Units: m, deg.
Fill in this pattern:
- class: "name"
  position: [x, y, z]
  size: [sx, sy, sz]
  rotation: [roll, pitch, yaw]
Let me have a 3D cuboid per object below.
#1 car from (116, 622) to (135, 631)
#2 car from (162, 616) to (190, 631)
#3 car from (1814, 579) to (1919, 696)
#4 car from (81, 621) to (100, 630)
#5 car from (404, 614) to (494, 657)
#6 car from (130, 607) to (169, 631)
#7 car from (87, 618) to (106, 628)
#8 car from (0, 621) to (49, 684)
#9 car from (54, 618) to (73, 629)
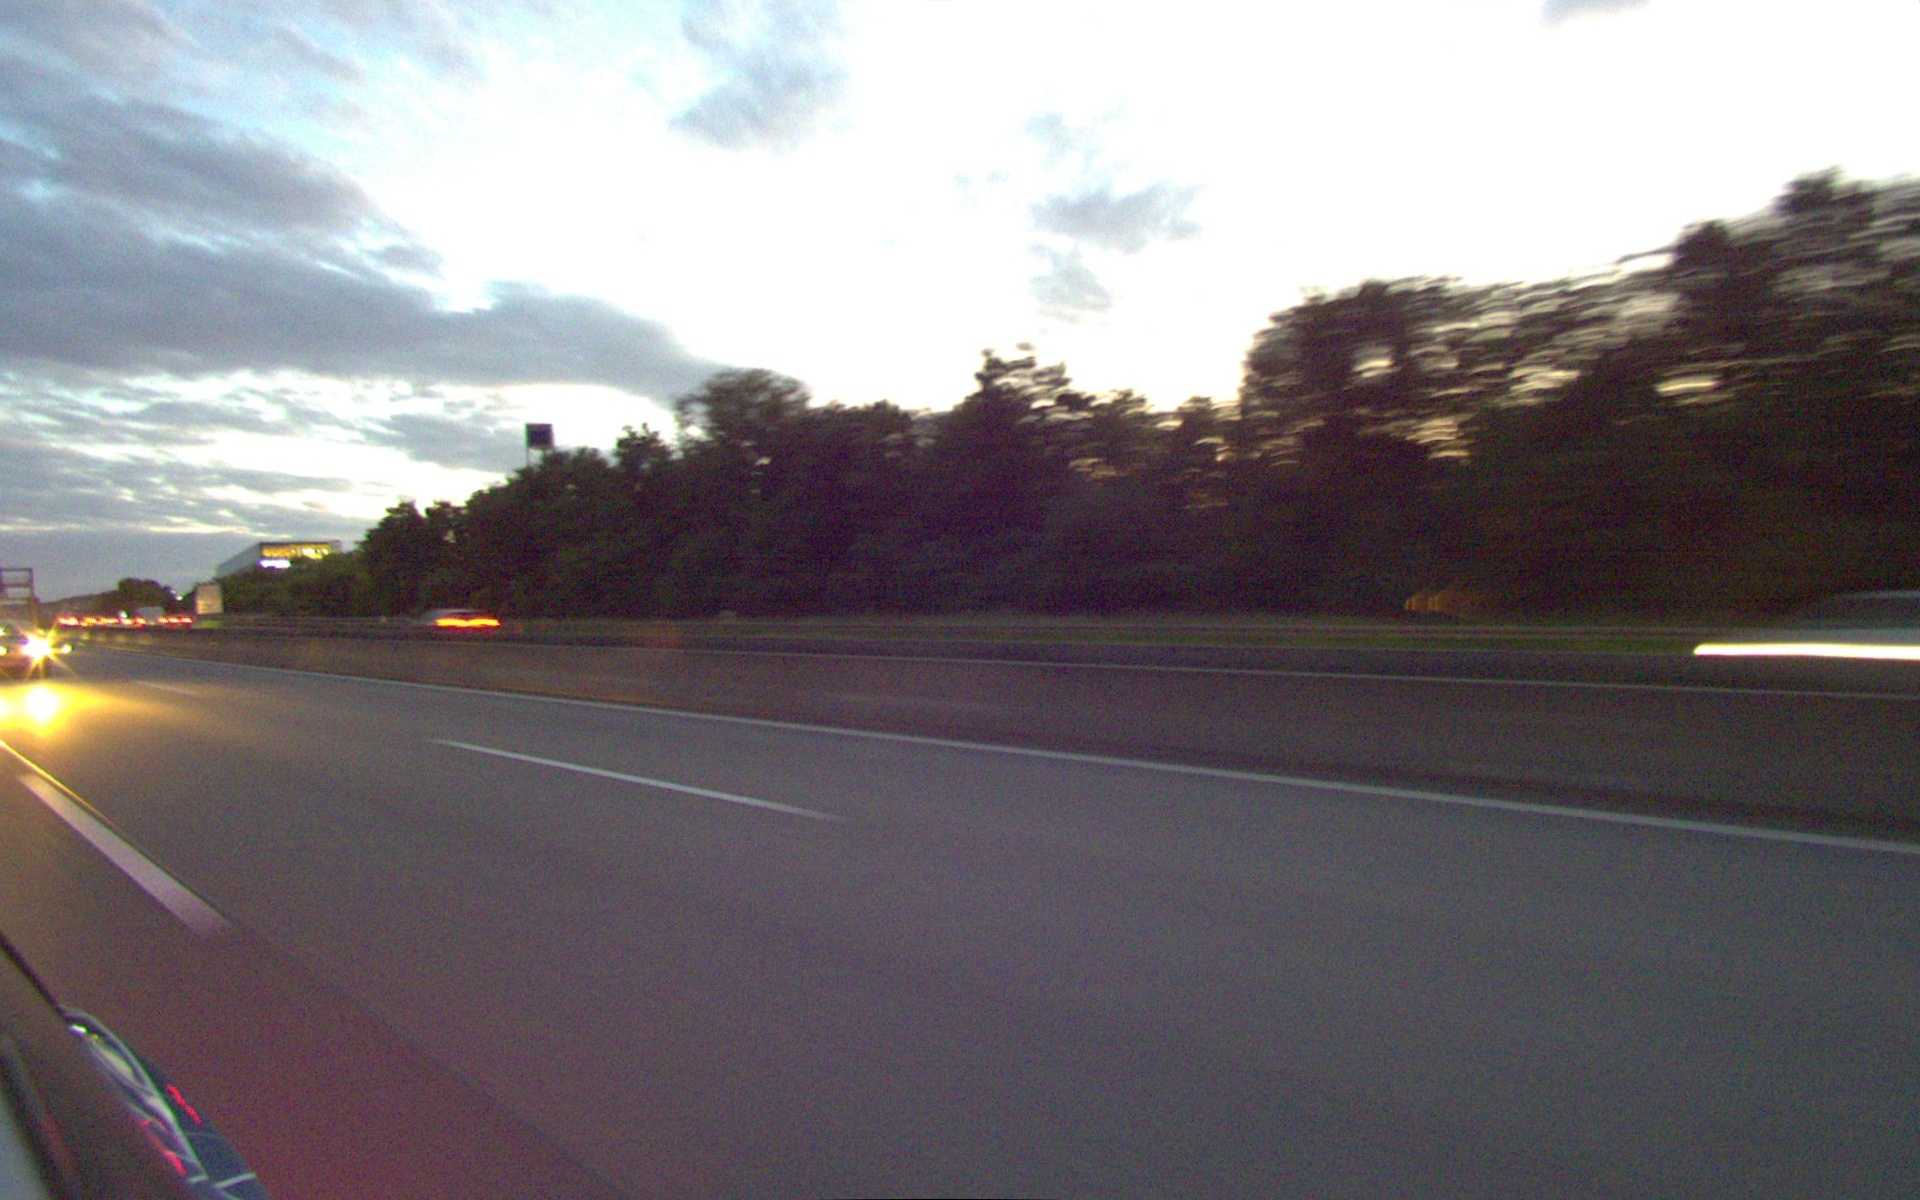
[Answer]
- class: "car"
  position: [-140.292, 4.498, 170.076]
  size: [5.025, 1.412, 1.971]
  rotation: [-1, 0, 44]
- class: "car"
  position: [-92.390, 2.774, 119.230]
  size: [4.971, 1.706, 1.971]
  rotation: [-1, 0, 44]
- class: "car"
  position: [13.380, 0.447, 12.865]
  size: [3.833, 1.464, 1.973]
  rotation: [-1, 0, 41]
- class: "car"
  position: [-147.986, 4.367, 172.256]
  size: [5.025, 1.484, 1.971]
  rotation: [-1, 0, 44]
- class: "car"
  position: [-23.071, 1.569, 45.613]
  size: [4.839, 1.804, 1.972]
  rotation: [-1, 0, 42]
- class: "car"
  position: [-85.338, 1.989, 106.550]
  size: [7.096, 2.450, 2.300]
  rotation: [-1, 0, 44]
- class: "car"
  position: [-136.349, 3.687, 159.769]
  size: [4.560, 1.516, 1.971]
  rotation: [-1, 0, 44]
- class: "car"
  position: [-24.909, 1.322, 26.082]
  size: [3.999, 1.491, 1.695]
  rotation: [-1, 0, 42]
- class: "car"
  position: [-149.274, 3.828, 168.520]
  size: [5.053, 1.748, 1.971]
  rotation: [-1, 0, 44]
